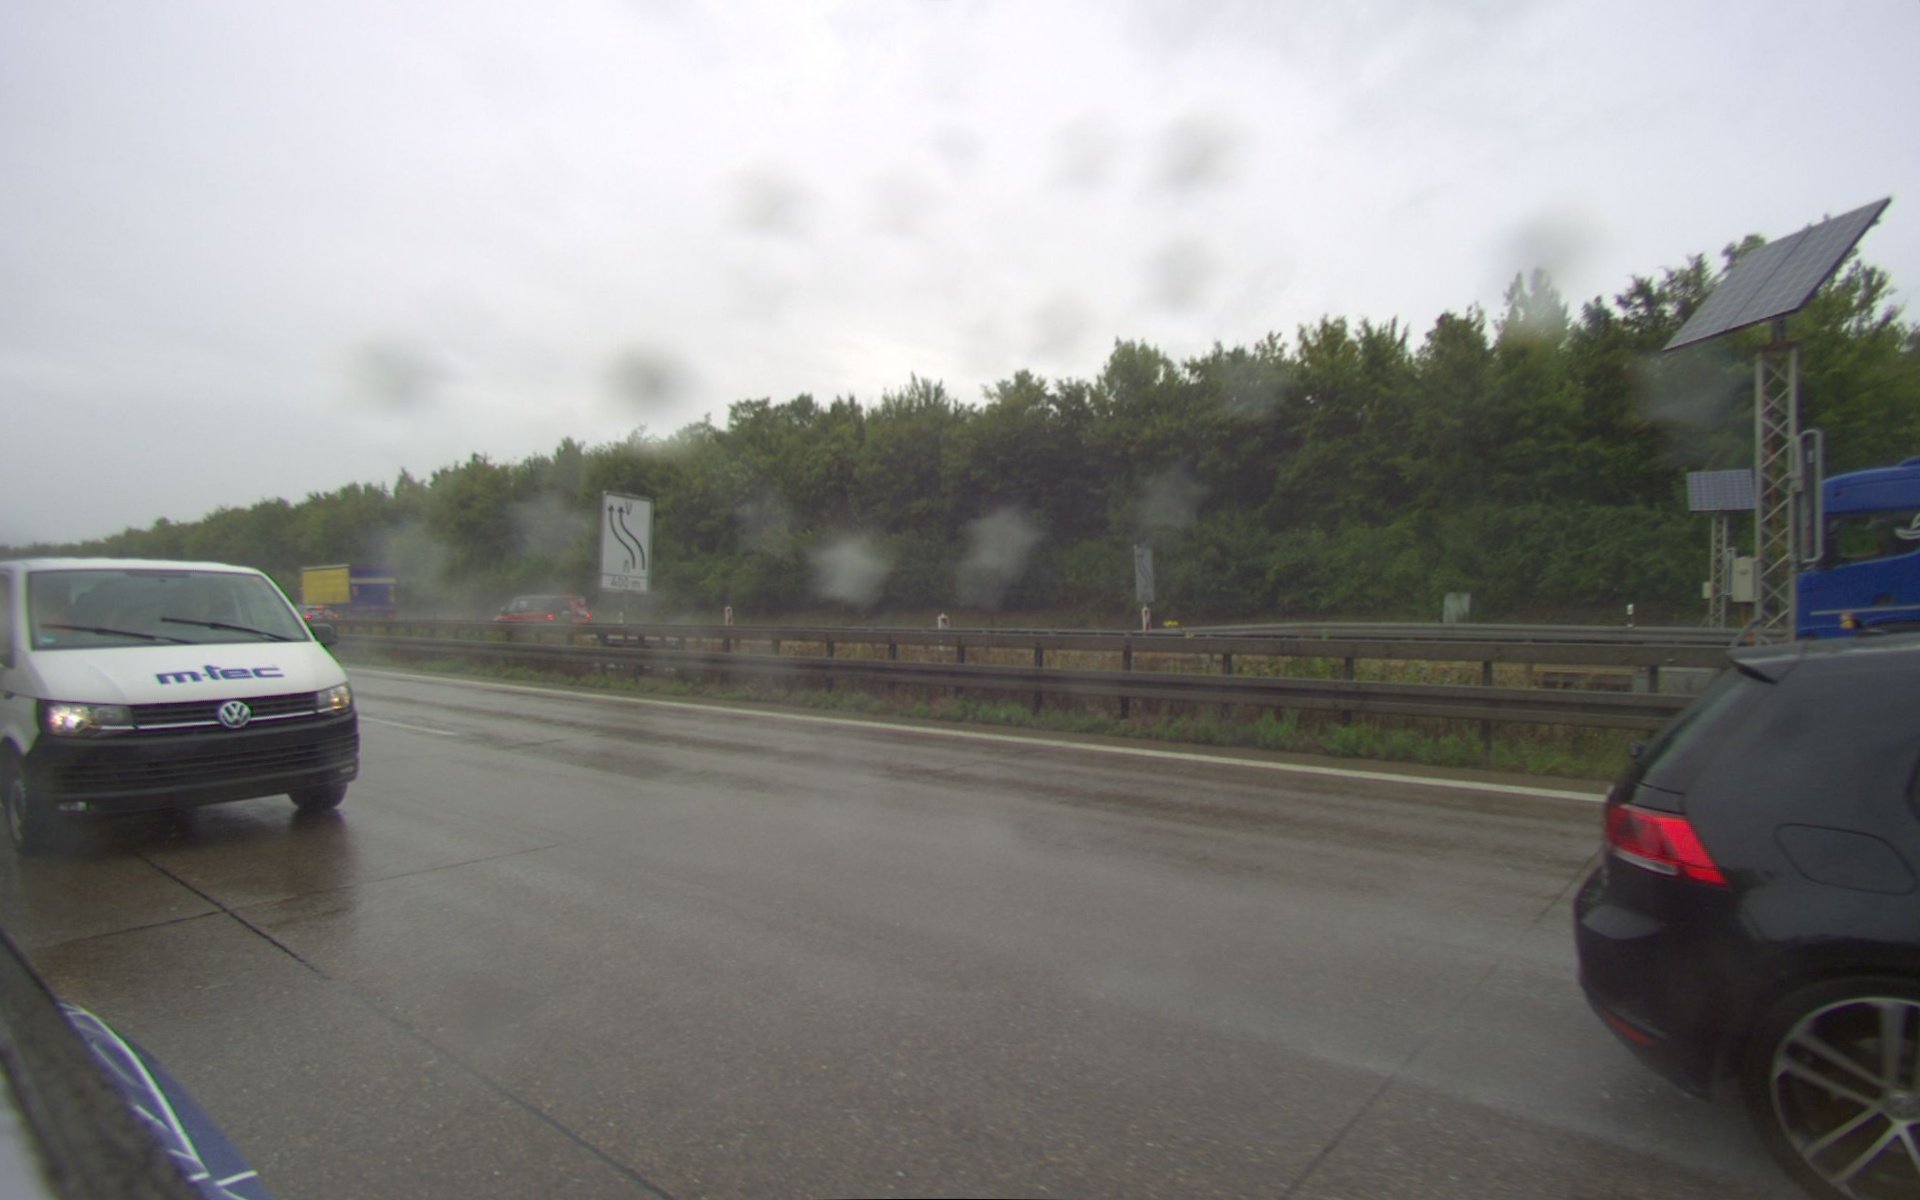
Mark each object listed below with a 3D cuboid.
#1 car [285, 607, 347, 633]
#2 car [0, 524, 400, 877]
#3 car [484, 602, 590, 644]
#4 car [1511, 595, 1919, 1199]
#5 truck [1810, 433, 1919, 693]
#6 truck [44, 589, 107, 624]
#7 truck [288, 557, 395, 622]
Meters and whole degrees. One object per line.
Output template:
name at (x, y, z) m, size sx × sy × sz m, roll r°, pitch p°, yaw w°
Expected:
car at (-36.435, 1.137, 57.217) m, size 4.422 × 1.349 × 1.735 m, roll -1°, pitch 0°, yaw 40°
car at (-6.496, 0.603, 7.719) m, size 5.031 × 1.908 × 1.883 m, roll -1°, pitch -2°, yaw 35°
car at (-17.229, 0.917, 41.093) m, size 5.267 × 1.543 × 1.735 m, roll -1°, pitch 0°, yaw 40°
car at (3.656, 0.694, 1.932) m, size 4.319 × 1.398 × 1.722 m, roll -1°, pitch -2°, yaw 41°
truck at (19.193, -0.682, 14.868) m, size 10.171 × 4.185 × 2.819 m, roll -1°, pitch 0°, yaw 41°
truck at (-89.434, 0.738, 102.244) m, size 11.501 × 3.340 × 2.747 m, roll -1°, pitch 0°, yaw 39°
truck at (-38.288, -0.566, 62.460) m, size 9.790 × 3.728 × 2.559 m, roll -1°, pitch 0°, yaw 40°
